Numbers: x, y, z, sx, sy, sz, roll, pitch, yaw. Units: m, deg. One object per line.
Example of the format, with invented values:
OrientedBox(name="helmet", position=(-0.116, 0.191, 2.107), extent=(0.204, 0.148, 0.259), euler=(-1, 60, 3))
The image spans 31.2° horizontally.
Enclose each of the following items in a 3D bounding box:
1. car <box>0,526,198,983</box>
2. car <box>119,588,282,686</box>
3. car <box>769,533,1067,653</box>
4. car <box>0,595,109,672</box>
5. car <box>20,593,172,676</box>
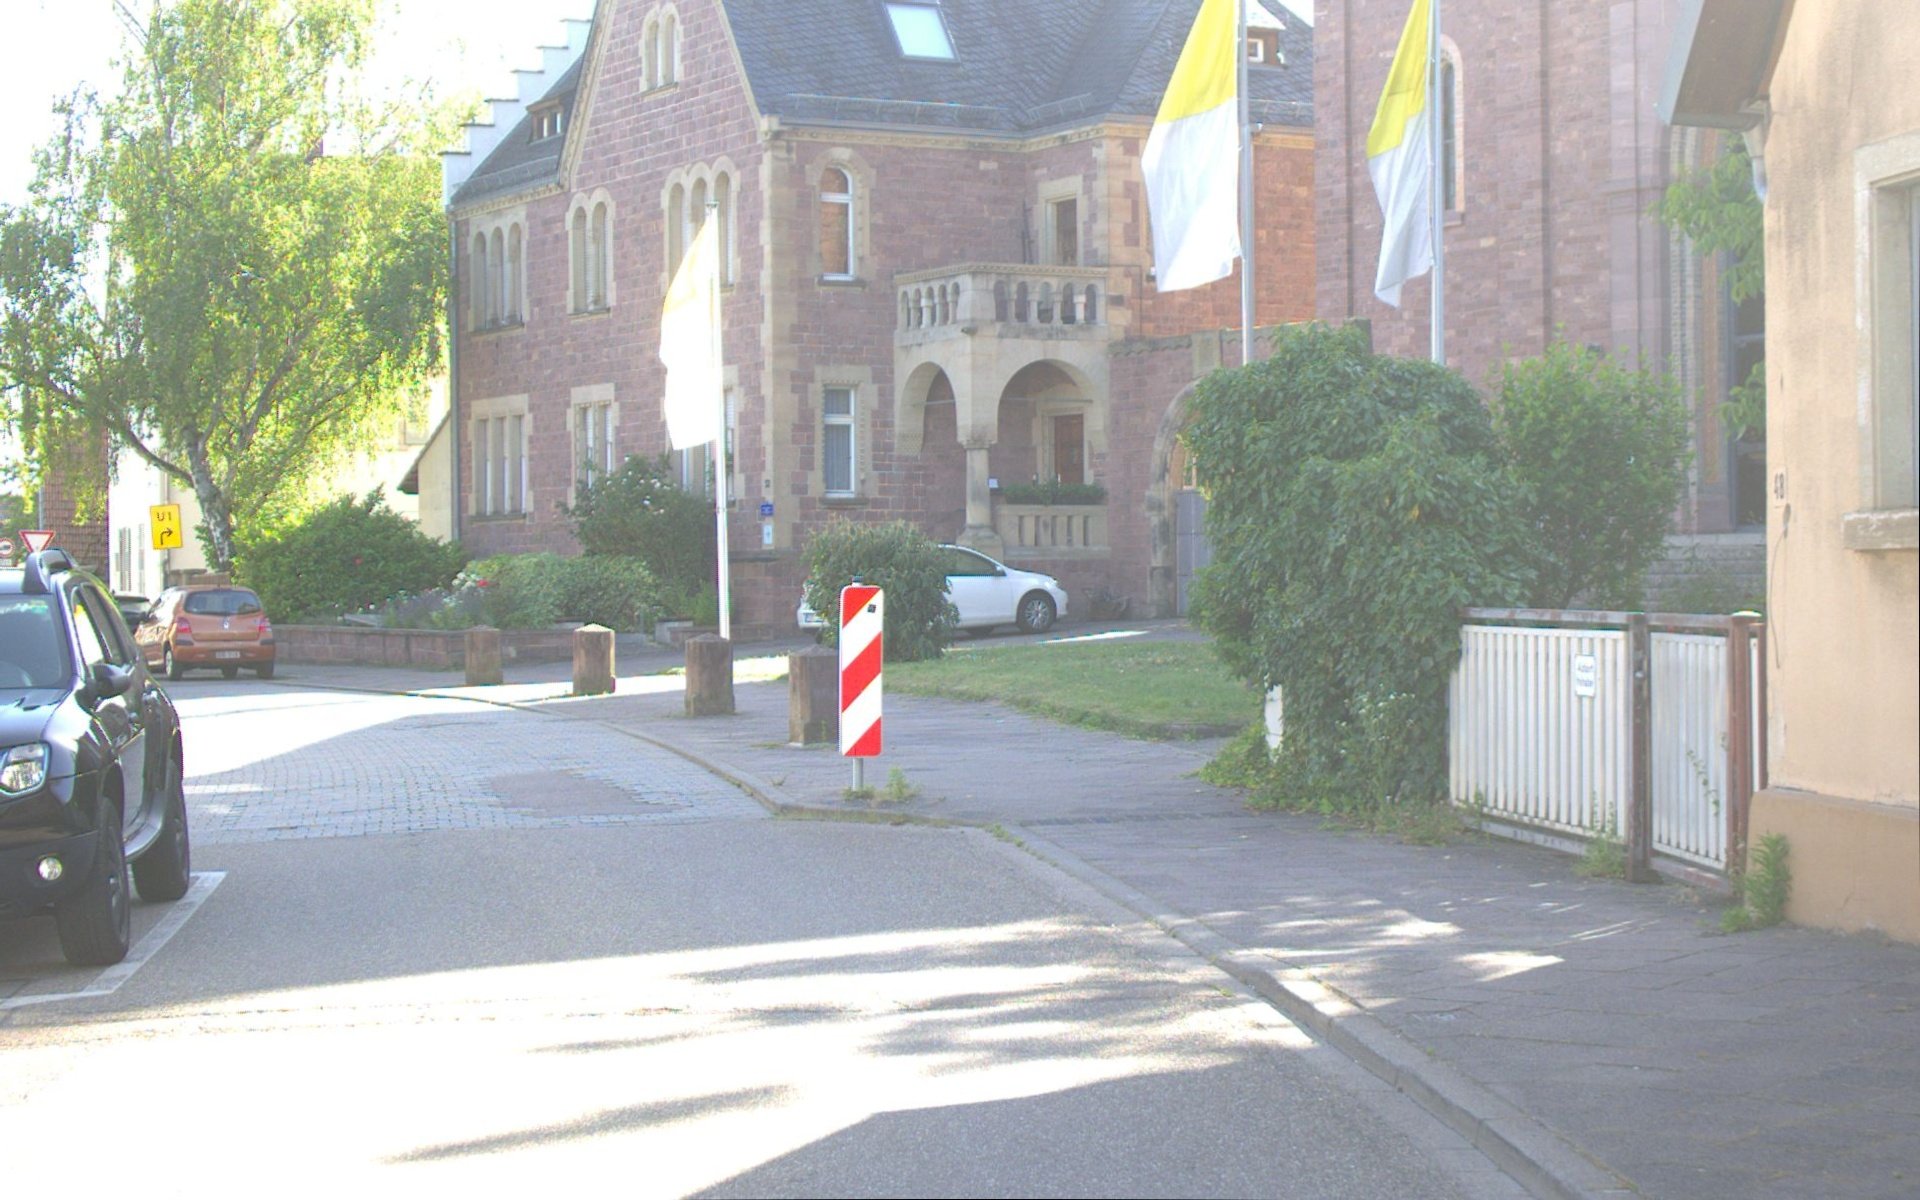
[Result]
OrientedBox(name="car", position=(-4.429, 0.601, 14.740), extent=(1.832, 1.665, 4.353), euler=(-3, 1, -8))
OrientedBox(name="car", position=(-12.009, 0.558, 54.221), extent=(1.648, 1.474, 3.934), euler=(0, 0, -26))
OrientedBox(name="car", position=(-0.615, -0.107, 50.807), extent=(3.898, 1.491, 1.904), euler=(-4, 0, -31))
OrientedBox(name="car", position=(-17.617, 0.617, 66.165), extent=(1.807, 1.431, 4.286), euler=(0, 0, -22))
OrientedBox(name="car", position=(-15.588, 0.590, 61.888), extent=(1.807, 1.431, 4.286), euler=(0, 0, -26))
